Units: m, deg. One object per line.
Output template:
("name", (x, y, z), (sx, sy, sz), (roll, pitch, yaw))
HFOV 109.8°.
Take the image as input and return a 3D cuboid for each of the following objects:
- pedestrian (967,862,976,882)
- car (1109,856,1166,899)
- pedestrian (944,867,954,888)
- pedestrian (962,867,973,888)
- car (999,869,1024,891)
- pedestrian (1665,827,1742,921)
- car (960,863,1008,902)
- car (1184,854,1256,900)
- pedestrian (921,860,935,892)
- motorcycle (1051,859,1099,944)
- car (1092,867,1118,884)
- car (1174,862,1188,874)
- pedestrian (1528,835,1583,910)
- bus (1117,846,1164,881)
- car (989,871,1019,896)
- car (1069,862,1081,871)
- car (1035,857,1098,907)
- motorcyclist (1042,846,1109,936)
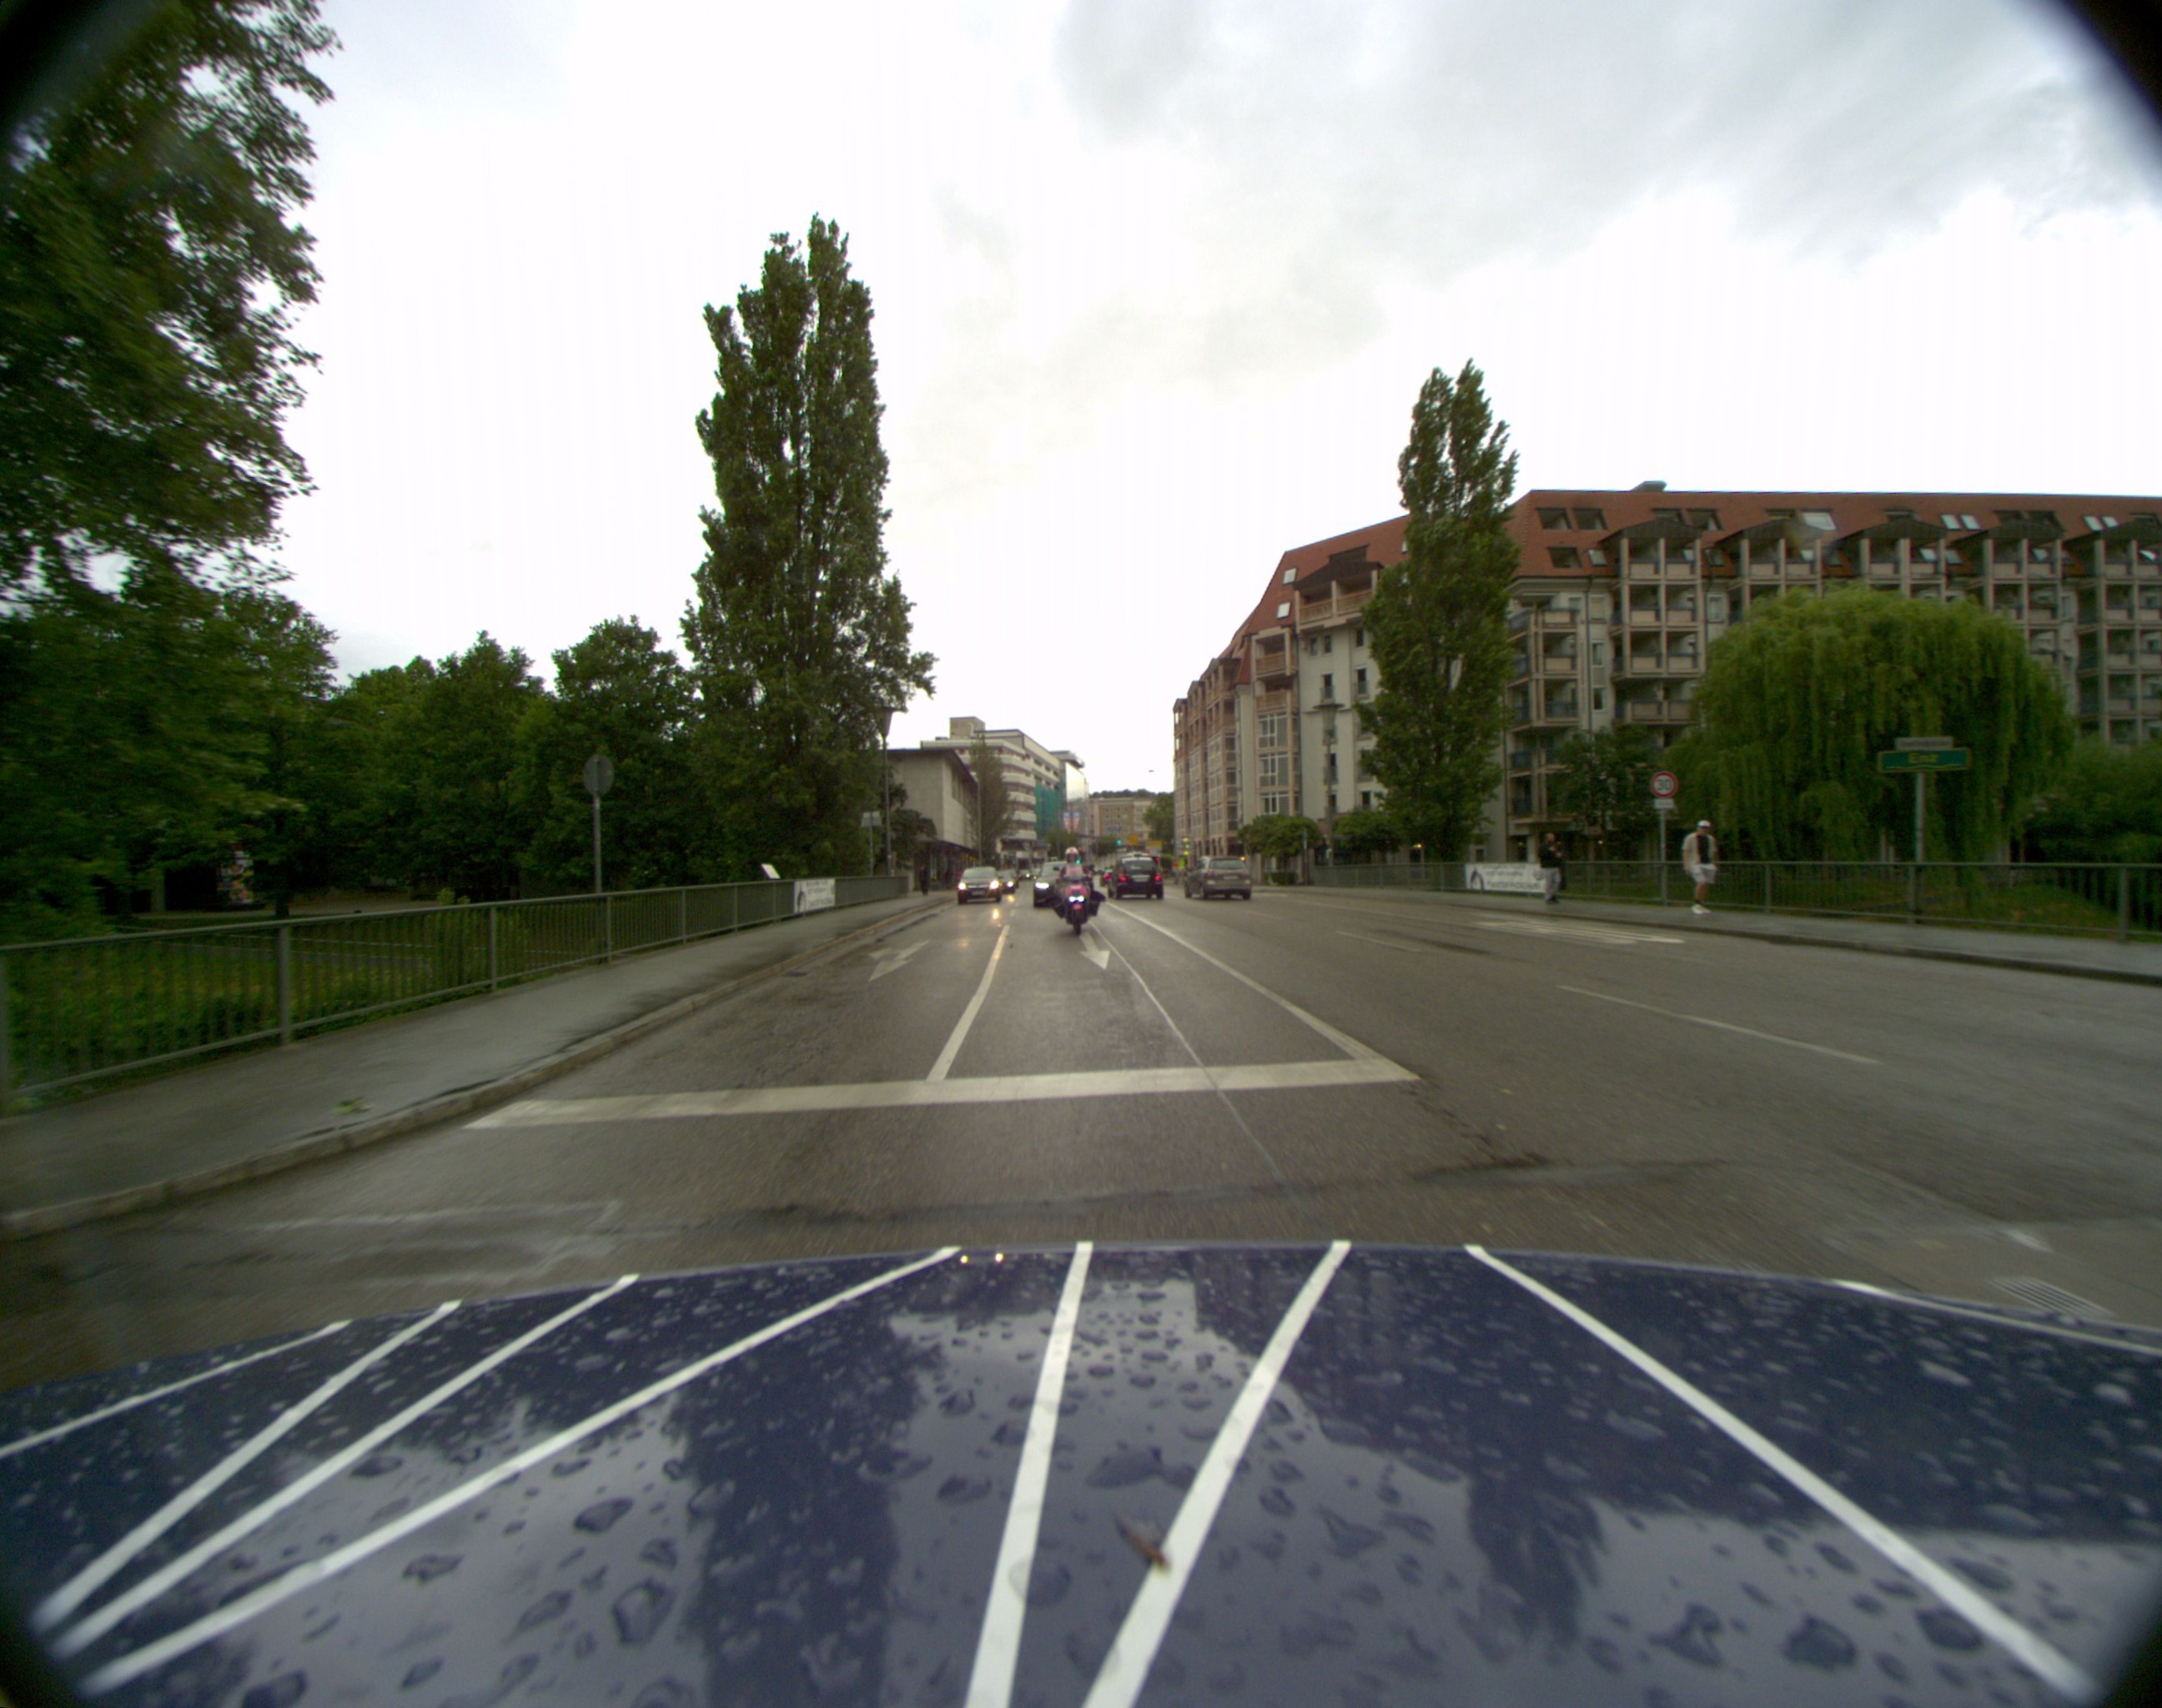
("pedestrian", (-9.625, 1.584, 66.787), (0.700, 1.791, 0.606), (0, 0, -4))
("car", (2.141, 0.879, 29.785), (1.741, 1.592, 3.918), (0, -1, -3))
("pedestrian", (-10.341, 1.843, 59.679), (0.728, 1.580, 0.606), (0, 0, -4))
("pedestrian", (-8.973, 1.849, 60.084), (0.719, 1.610, 0.769), (0, 0, -4))
("car", (-5.984, 2.242, 65.973), (1.735, 1.669, 4.249), (-3, 0, 0))
("pedestrian", (12.350, 0.380, 15.091), (0.799, 1.783, 0.812), (-2, 0, -1))
("car", (-3.948, 1.156, 31.358), (1.713, 1.448, 3.742), (-2, -1, -4))
("car", (5.037, 0.818, 28.026), (1.741, 1.592, 3.918), (0, -1, -3))
("pedestrian", (-7.960, 1.123, 39.518), (0.641, 1.654, 0.563), (0, -2, -4))
("motorcycle", (-0.163, 0.889, 15.497), (0.832, 1.479, 2.864), (-2, 1, -3))
("car", (1.987, 1.809, 65.279), (1.796, 1.317, 4.405), (-1, -1, -4))
("car", (13.796, 1.902, 104.672), (1.598, 1.529, 3.602), (-2, -1, 4))
("pedestrian", (11.822, 0.450, 18.952), (0.700, 1.783, 0.958), (-2, 0, -2))
("bus", (5.672, 1.104, 74.734), (2.752, 3.056, 12.236), (1, -2, -4))
("car", (-4.682, 1.782, 46.491), (1.596, 1.432, 3.626), (-2, -1, -4))
("car", (-1.338, 2.686, 164.795), (1.830, 1.727, 4.001), (0, 3, 10))
("car", (-0.531, 0.919, 26.097), (1.938, 1.510, 4.468), (-2, -1, -2))
("motorcyclist", (-0.125, 0.728, 15.463), (1.296, 1.757, 0.845), (0, 1, -5))
